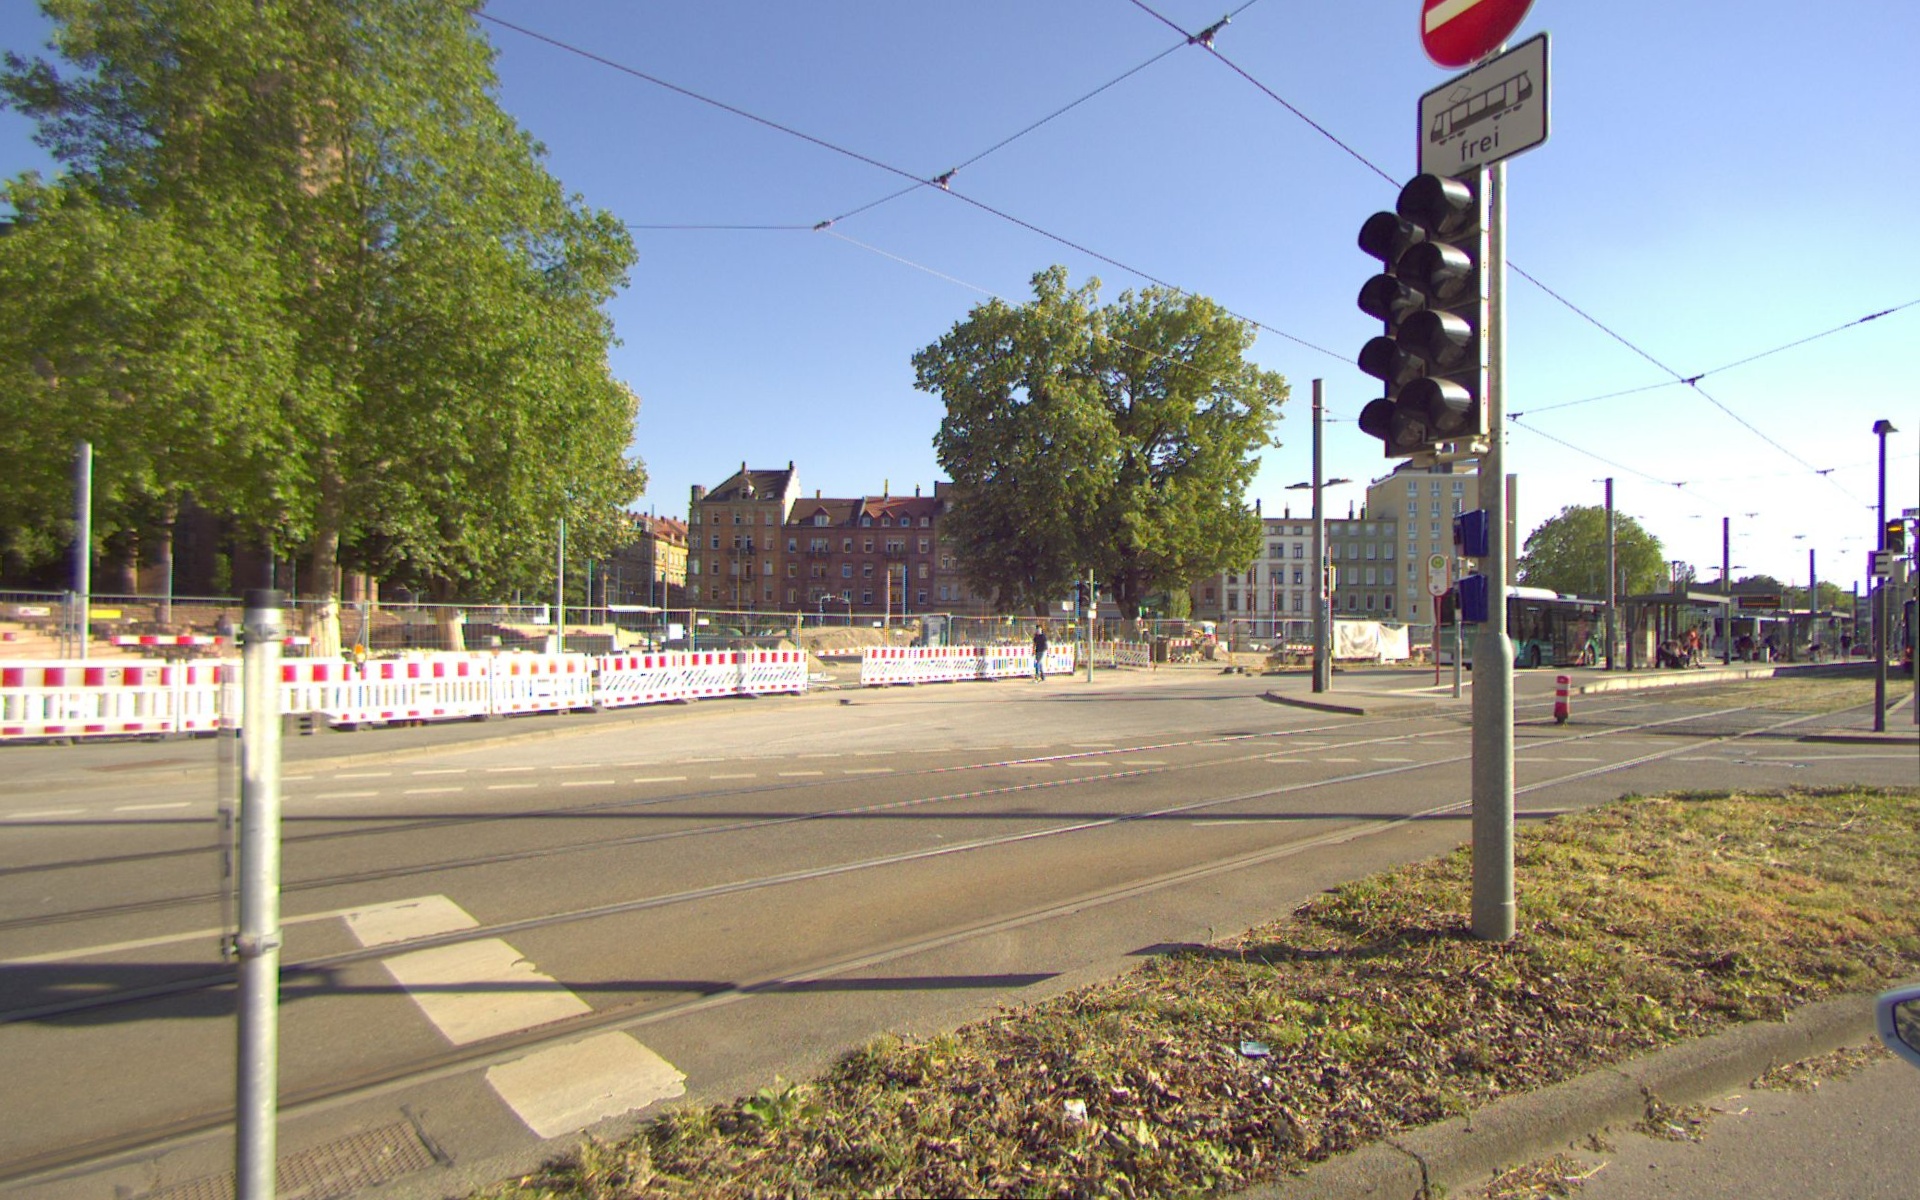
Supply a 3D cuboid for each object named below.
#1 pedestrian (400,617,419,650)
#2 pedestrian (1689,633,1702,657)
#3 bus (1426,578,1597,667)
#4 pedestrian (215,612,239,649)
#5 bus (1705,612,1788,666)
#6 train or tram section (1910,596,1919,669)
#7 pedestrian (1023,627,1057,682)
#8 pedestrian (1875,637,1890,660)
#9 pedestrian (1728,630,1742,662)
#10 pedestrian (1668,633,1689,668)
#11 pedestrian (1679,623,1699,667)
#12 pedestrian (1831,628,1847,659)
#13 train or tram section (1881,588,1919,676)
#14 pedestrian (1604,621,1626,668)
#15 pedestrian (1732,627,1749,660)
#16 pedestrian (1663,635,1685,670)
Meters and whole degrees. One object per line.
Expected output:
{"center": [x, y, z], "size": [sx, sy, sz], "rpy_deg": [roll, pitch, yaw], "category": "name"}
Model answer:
{"center": [-27.701, 1.677, 50.557], "size": [0.751, 1.669, 0.671], "rpy_deg": [1, -1, -26], "category": "pedestrian"}
{"center": [54.515, 3.332, 74.459], "size": [0.568, 1.772, 0.632], "rpy_deg": [2, -2, -41], "category": "pedestrian"}
{"center": [22.001, 0.902, 39.750], "size": [9.564, 3.177, 2.631], "rpy_deg": [2, 0, -40], "category": "bus"}
{"center": [-33.347, 1.402, 45.714], "size": [0.665, 1.669, 0.635], "rpy_deg": [1, -1, -18], "category": "pedestrian"}
{"center": [53.961, 2.635, 68.748], "size": [13.376, 3.317, 2.694], "rpy_deg": [2, 0, -44], "category": "bus"}
{"center": [53.892, 1.822, 53.780], "size": [12.100, 3.644, 2.987], "rpy_deg": [2, 0, -40], "category": "train or tram section"}
{"center": [2.522, 1.721, 31.629], "size": [0.699, 1.719, 0.899], "rpy_deg": [-1, -4, 33], "category": "pedestrian"}
{"center": [71.465, 3.771, 77.837], "size": [0.634, 1.772, 0.728], "rpy_deg": [2, -2, -37], "category": "pedestrian"}
{"center": [44.513, 2.638, 57.705], "size": [0.564, 1.772, 0.636], "rpy_deg": [-1, -2, 41], "category": "pedestrian"}
{"center": [28.182, 1.985, 39.407], "size": [0.564, 1.363, 0.636], "rpy_deg": [-1, -2, 43], "category": "pedestrian"}
{"center": [29.561, 1.814, 40.728], "size": [0.564, 1.772, 0.636], "rpy_deg": [-1, -2, 43], "category": "pedestrian"}
{"center": [51.570, 2.536, 58.917], "size": [0.629, 1.772, 0.570], "rpy_deg": [-1, -2, 34], "category": "pedestrian"}
{"center": [44.755, 1.494, 45.827], "size": [12.108, 3.644, 2.855], "rpy_deg": [2, 0, -42], "category": "train or tram section"}
{"center": [25.071, 1.701, 38.472], "size": [0.554, 1.772, 0.534], "rpy_deg": [2, -2, -35], "category": "pedestrian"}
{"center": [41.889, 2.326, 53.908], "size": [0.629, 1.772, 0.570], "rpy_deg": [-1, -2, 34], "category": "pedestrian"}
{"center": [27.674, 2.021, 38.932], "size": [0.609, 1.358, 0.438], "rpy_deg": [-1, -2, 44], "category": "pedestrian"}
